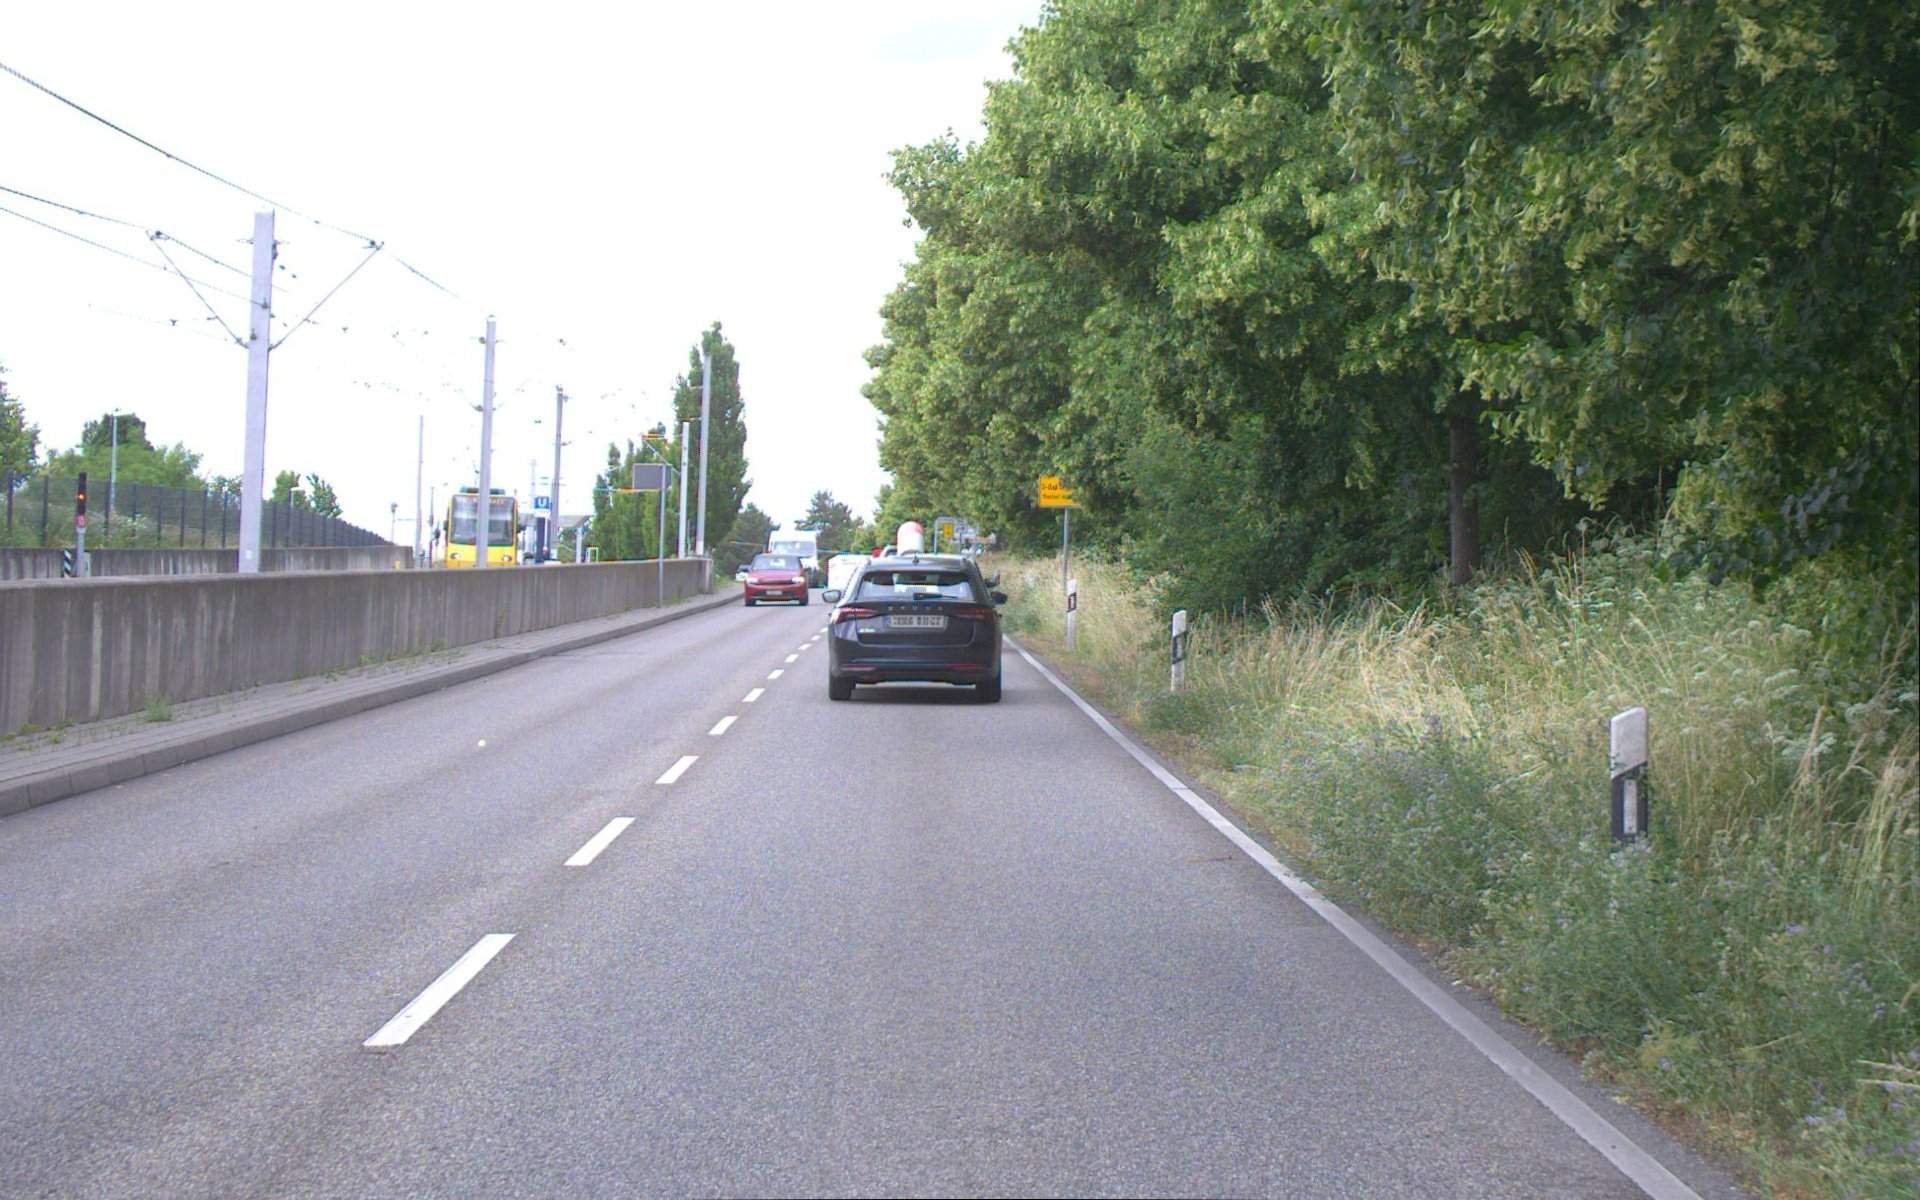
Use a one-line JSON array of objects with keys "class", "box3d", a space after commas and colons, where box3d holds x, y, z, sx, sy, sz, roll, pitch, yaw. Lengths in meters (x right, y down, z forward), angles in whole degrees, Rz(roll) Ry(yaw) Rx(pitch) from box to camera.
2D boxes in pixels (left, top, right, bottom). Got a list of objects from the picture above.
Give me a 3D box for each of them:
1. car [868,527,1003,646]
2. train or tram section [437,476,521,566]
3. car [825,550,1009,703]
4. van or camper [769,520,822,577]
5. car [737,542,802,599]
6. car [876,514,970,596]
[{"class": "car", "box3d": [-0.400, -0.237, 53.398, 1.993, 1.747, 4.000, 1, 1, -1]}, {"class": "train or tram section", "box3d": [-18.748, -2.935, 133.273, 2.811, 3.106, 18.920, 0, 0, -9]}, {"class": "car", "box3d": [-0.453, 0.229, 35.737, 1.781, 1.463, 4.000, 1, 1, -1]}, {"class": "van or camper", "box3d": [-7.054, -2.236, 148.088, 2.082, 2.388, 6.138, 1, 1, -1]}, {"class": "car", "box3d": [-5.283, -0.832, 95.576, 1.662, 1.540, 3.953, 0, 1, -1]}, {"class": "car", "box3d": [-0.815, -0.961, 75.222, 1.993, 1.734, 4.000, 0, 0, -1]}]
